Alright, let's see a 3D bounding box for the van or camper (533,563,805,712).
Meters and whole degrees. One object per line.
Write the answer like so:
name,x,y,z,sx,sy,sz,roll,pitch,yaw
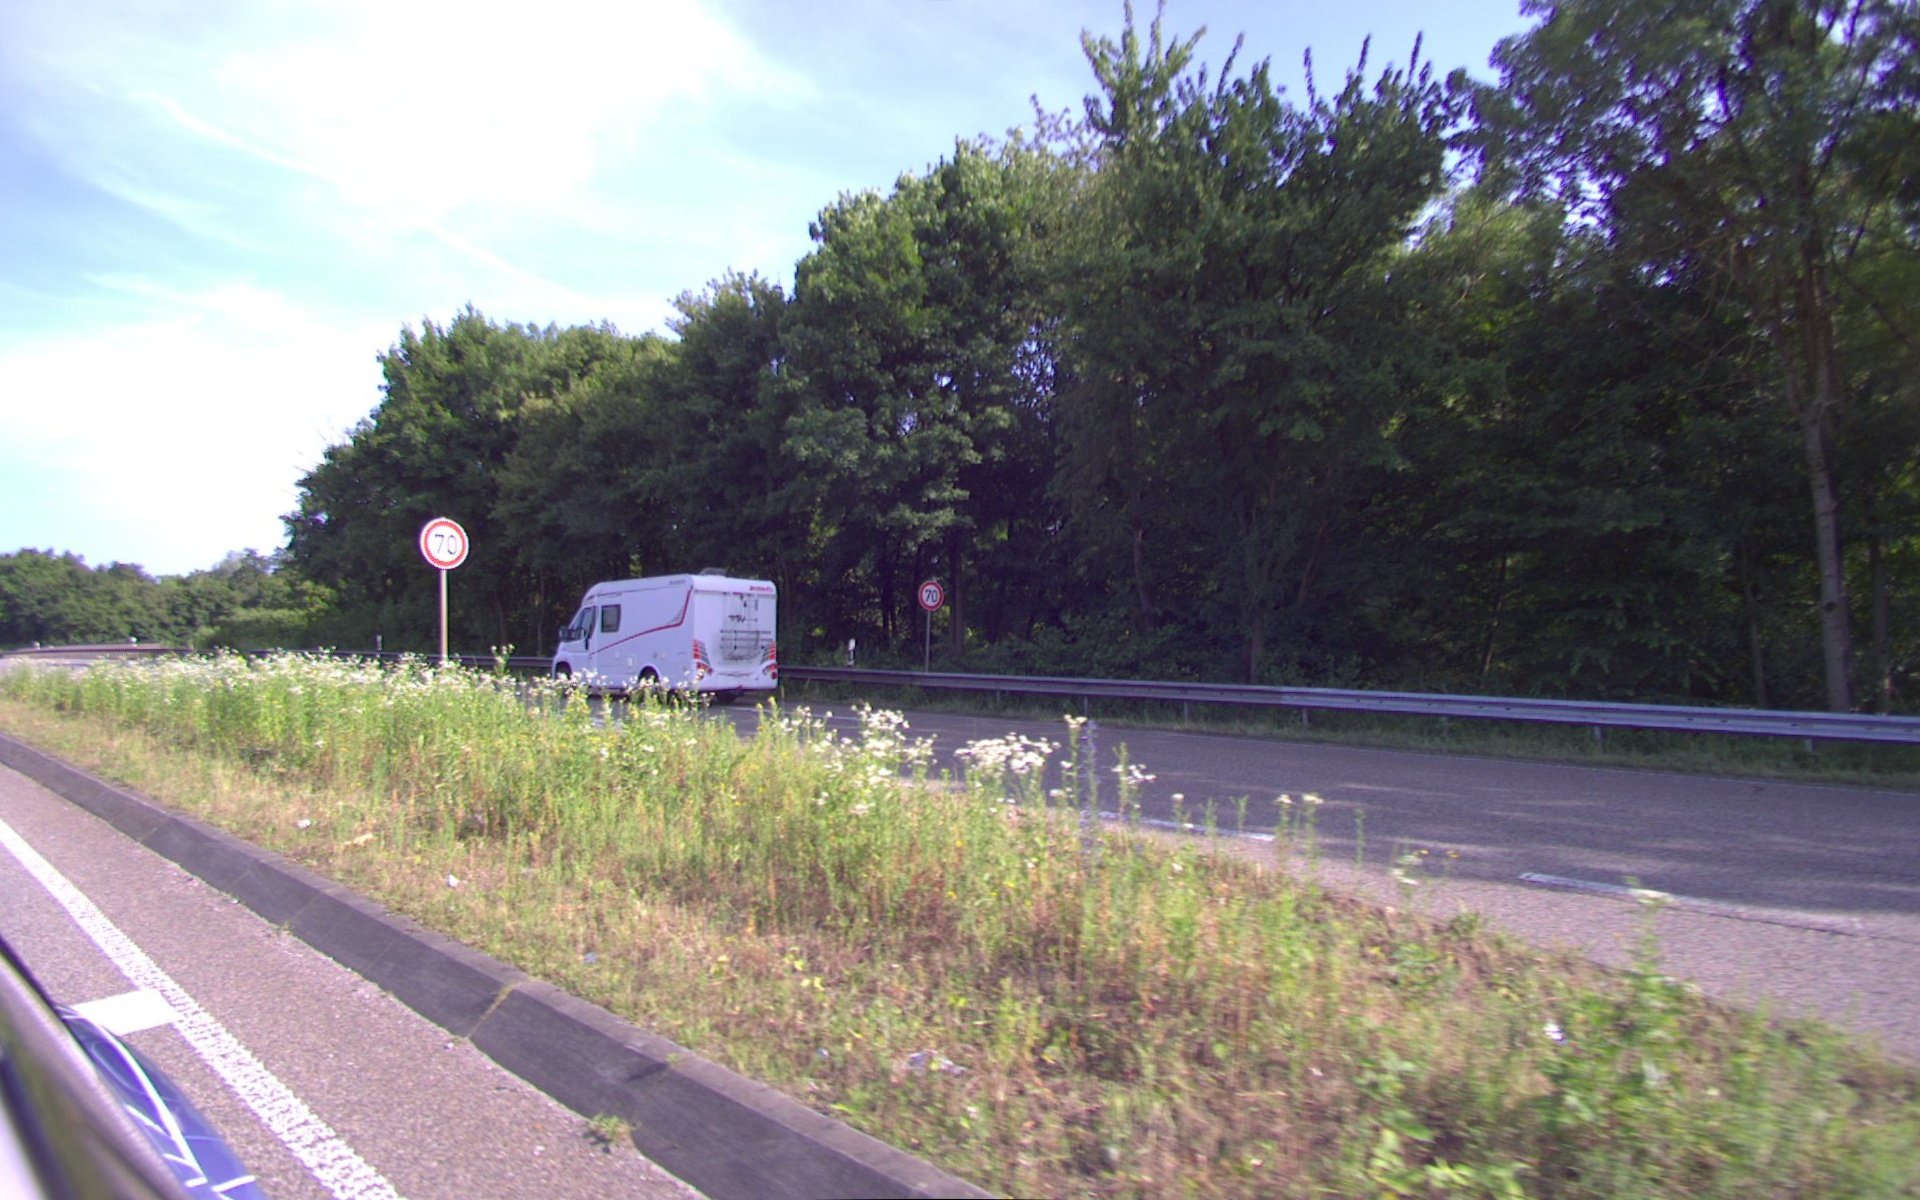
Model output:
van or camper,-6.345,0.815,21.541,6.433,2.732,2.388,-2,-4,41
